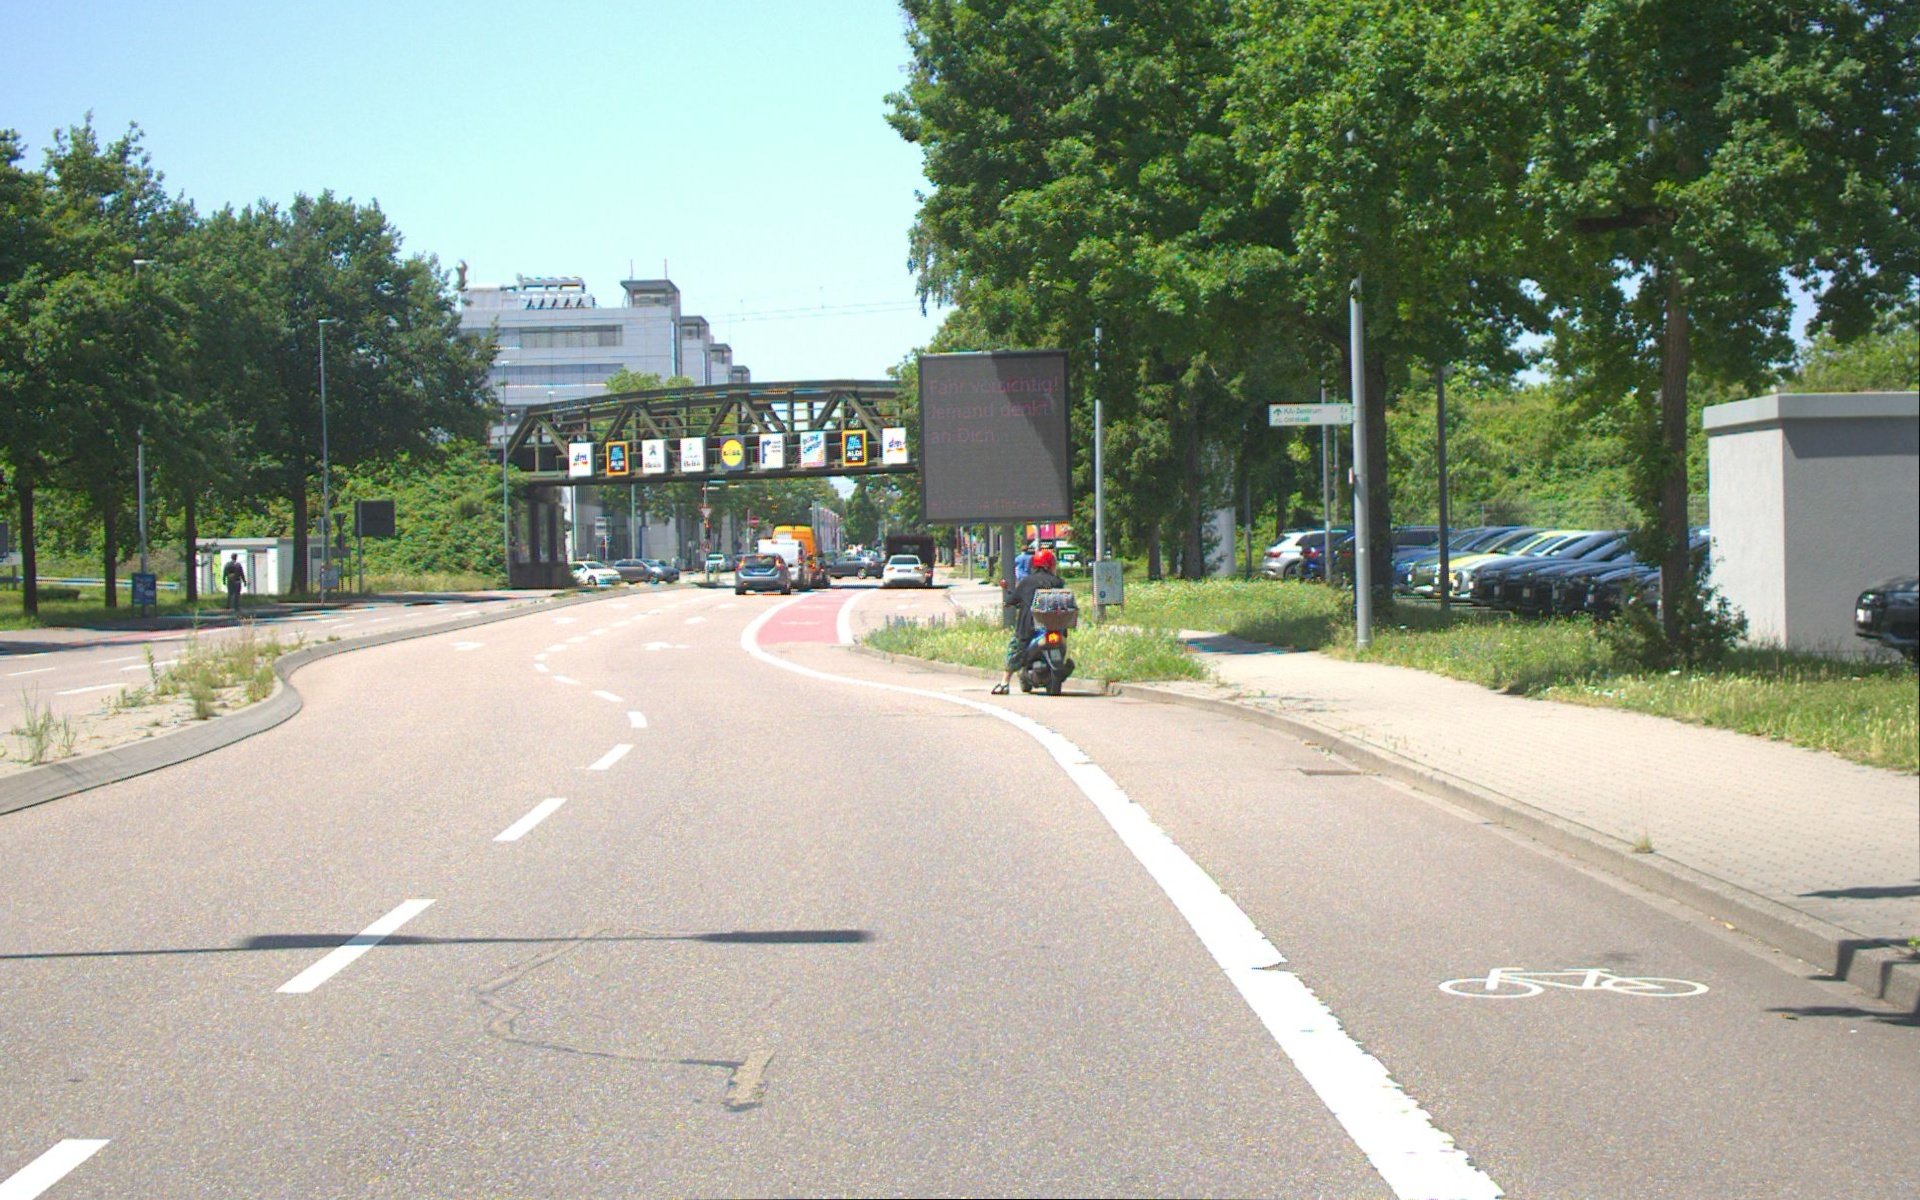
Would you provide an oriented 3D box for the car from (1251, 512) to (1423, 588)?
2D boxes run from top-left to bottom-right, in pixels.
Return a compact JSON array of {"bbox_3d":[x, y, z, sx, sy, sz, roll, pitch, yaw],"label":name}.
[{"bbox_3d":[9.347,-1.248,85.469,3.860,1.598,1.798,4,0,-5],"label":"car"}]

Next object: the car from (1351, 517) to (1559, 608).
[{"bbox_3d":[10.261,-0.784,71.360,3.860,1.598,1.798,4,0,-5],"label":"car"}]

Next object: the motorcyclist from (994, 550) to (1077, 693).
[{"bbox_3d":[0.817,0.225,37.244,0.719,1.524,0.871,0,1,-11],"label":"motorcyclist"}]

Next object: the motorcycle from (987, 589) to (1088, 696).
[{"bbox_3d":[0.828,0.447,37.174,0.716,1.101,1.831,0,1,-11],"label":"motorcycle"}]

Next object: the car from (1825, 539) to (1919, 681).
[{"bbox_3d":[10.912,0.164,33.875,4.221,1.337,1.917,2,1,-1],"label":"car"}]

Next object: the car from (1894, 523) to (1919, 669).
[{"bbox_3d":[10.924,0.071,31.337,4.221,1.337,1.917,3,1,-1],"label":"car"}]

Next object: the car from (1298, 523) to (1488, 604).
[{"bbox_3d":[9.730,-0.818,77.420,3.860,1.598,1.798,3,1,-5],"label":"car"}]

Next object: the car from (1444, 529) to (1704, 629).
[{"bbox_3d":[10.544,-0.370,59.229,3.986,1.418,1.798,4,0,-5],"label":"car"}]

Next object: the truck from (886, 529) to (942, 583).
[{"bbox_3d":[-2.132,-2.031,156.832,2.458,2.402,7.134,1,1,-1],"label":"truck"}]

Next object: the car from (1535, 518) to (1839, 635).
[{"bbox_3d":[10.822,-0.363,51.326,3.986,1.435,1.798,4,0,-5],"label":"car"}]

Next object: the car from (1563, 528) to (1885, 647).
[{"bbox_3d":[10.755,-0.187,48.539,3.986,1.372,1.798,4,0,-5],"label":"car"}]

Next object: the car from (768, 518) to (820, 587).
[{"bbox_3d":[-7.118,-2.049,147.825,2.072,2.845,6.766,-1,1,-2],"label":"car"}]

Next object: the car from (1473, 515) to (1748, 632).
[{"bbox_3d":[10.630,-0.439,56.337,3.986,1.619,1.798,4,0,-5],"label":"car"}]

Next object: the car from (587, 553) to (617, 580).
[{"bbox_3d":[-23.105,-2.164,221.917,1.715,1.726,3.807,-1,1,-3],"label":"car"}]

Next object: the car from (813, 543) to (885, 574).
[{"bbox_3d":[-6.423,-2.394,199.134,3.987,1.744,1.892,-1,1,4],"label":"car"}]

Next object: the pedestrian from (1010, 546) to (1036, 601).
[{"bbox_3d":[1.589,-0.663,86.789,0.623,1.370,0.564,-1,1,-2],"label":"pedestrian"}]

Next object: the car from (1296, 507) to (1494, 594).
[{"bbox_3d":[9.424,-1.069,74.602,3.860,1.598,1.798,4,0,-5],"label":"car"}]

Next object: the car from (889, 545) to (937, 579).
[{"bbox_3d":[-1.980,-1.595,143.847,1.924,1.415,4.000,0,1,-2],"label":"car"}]

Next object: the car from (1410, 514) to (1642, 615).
[{"bbox_3d":[10.597,-0.662,64.545,3.860,1.598,1.798,4,0,-5],"label":"car"}]

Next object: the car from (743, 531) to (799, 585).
[{"bbox_3d":[-7.124,-1.592,130.011,1.993,2.007,4.000,0,1,-2],"label":"car"}]

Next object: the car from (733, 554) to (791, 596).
[{"bbox_3d":[-6.942,-0.891,120.741,1.900,1.371,4.232,-1,1,-2],"label":"car"}]

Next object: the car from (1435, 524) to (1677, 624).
[{"bbox_3d":[10.706,-0.471,61.908,3.860,1.497,1.798,4,0,-5],"label":"car"}]

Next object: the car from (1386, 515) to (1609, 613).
[{"bbox_3d":[10.432,-0.707,66.864,3.860,1.598,1.798,4,0,-5],"label":"car"}]

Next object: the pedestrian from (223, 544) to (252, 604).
[{"bbox_3d":[-22.609,-0.820,107.543,0.743,1.877,0.577,-1,1,0],"label":"pedestrian"}]
